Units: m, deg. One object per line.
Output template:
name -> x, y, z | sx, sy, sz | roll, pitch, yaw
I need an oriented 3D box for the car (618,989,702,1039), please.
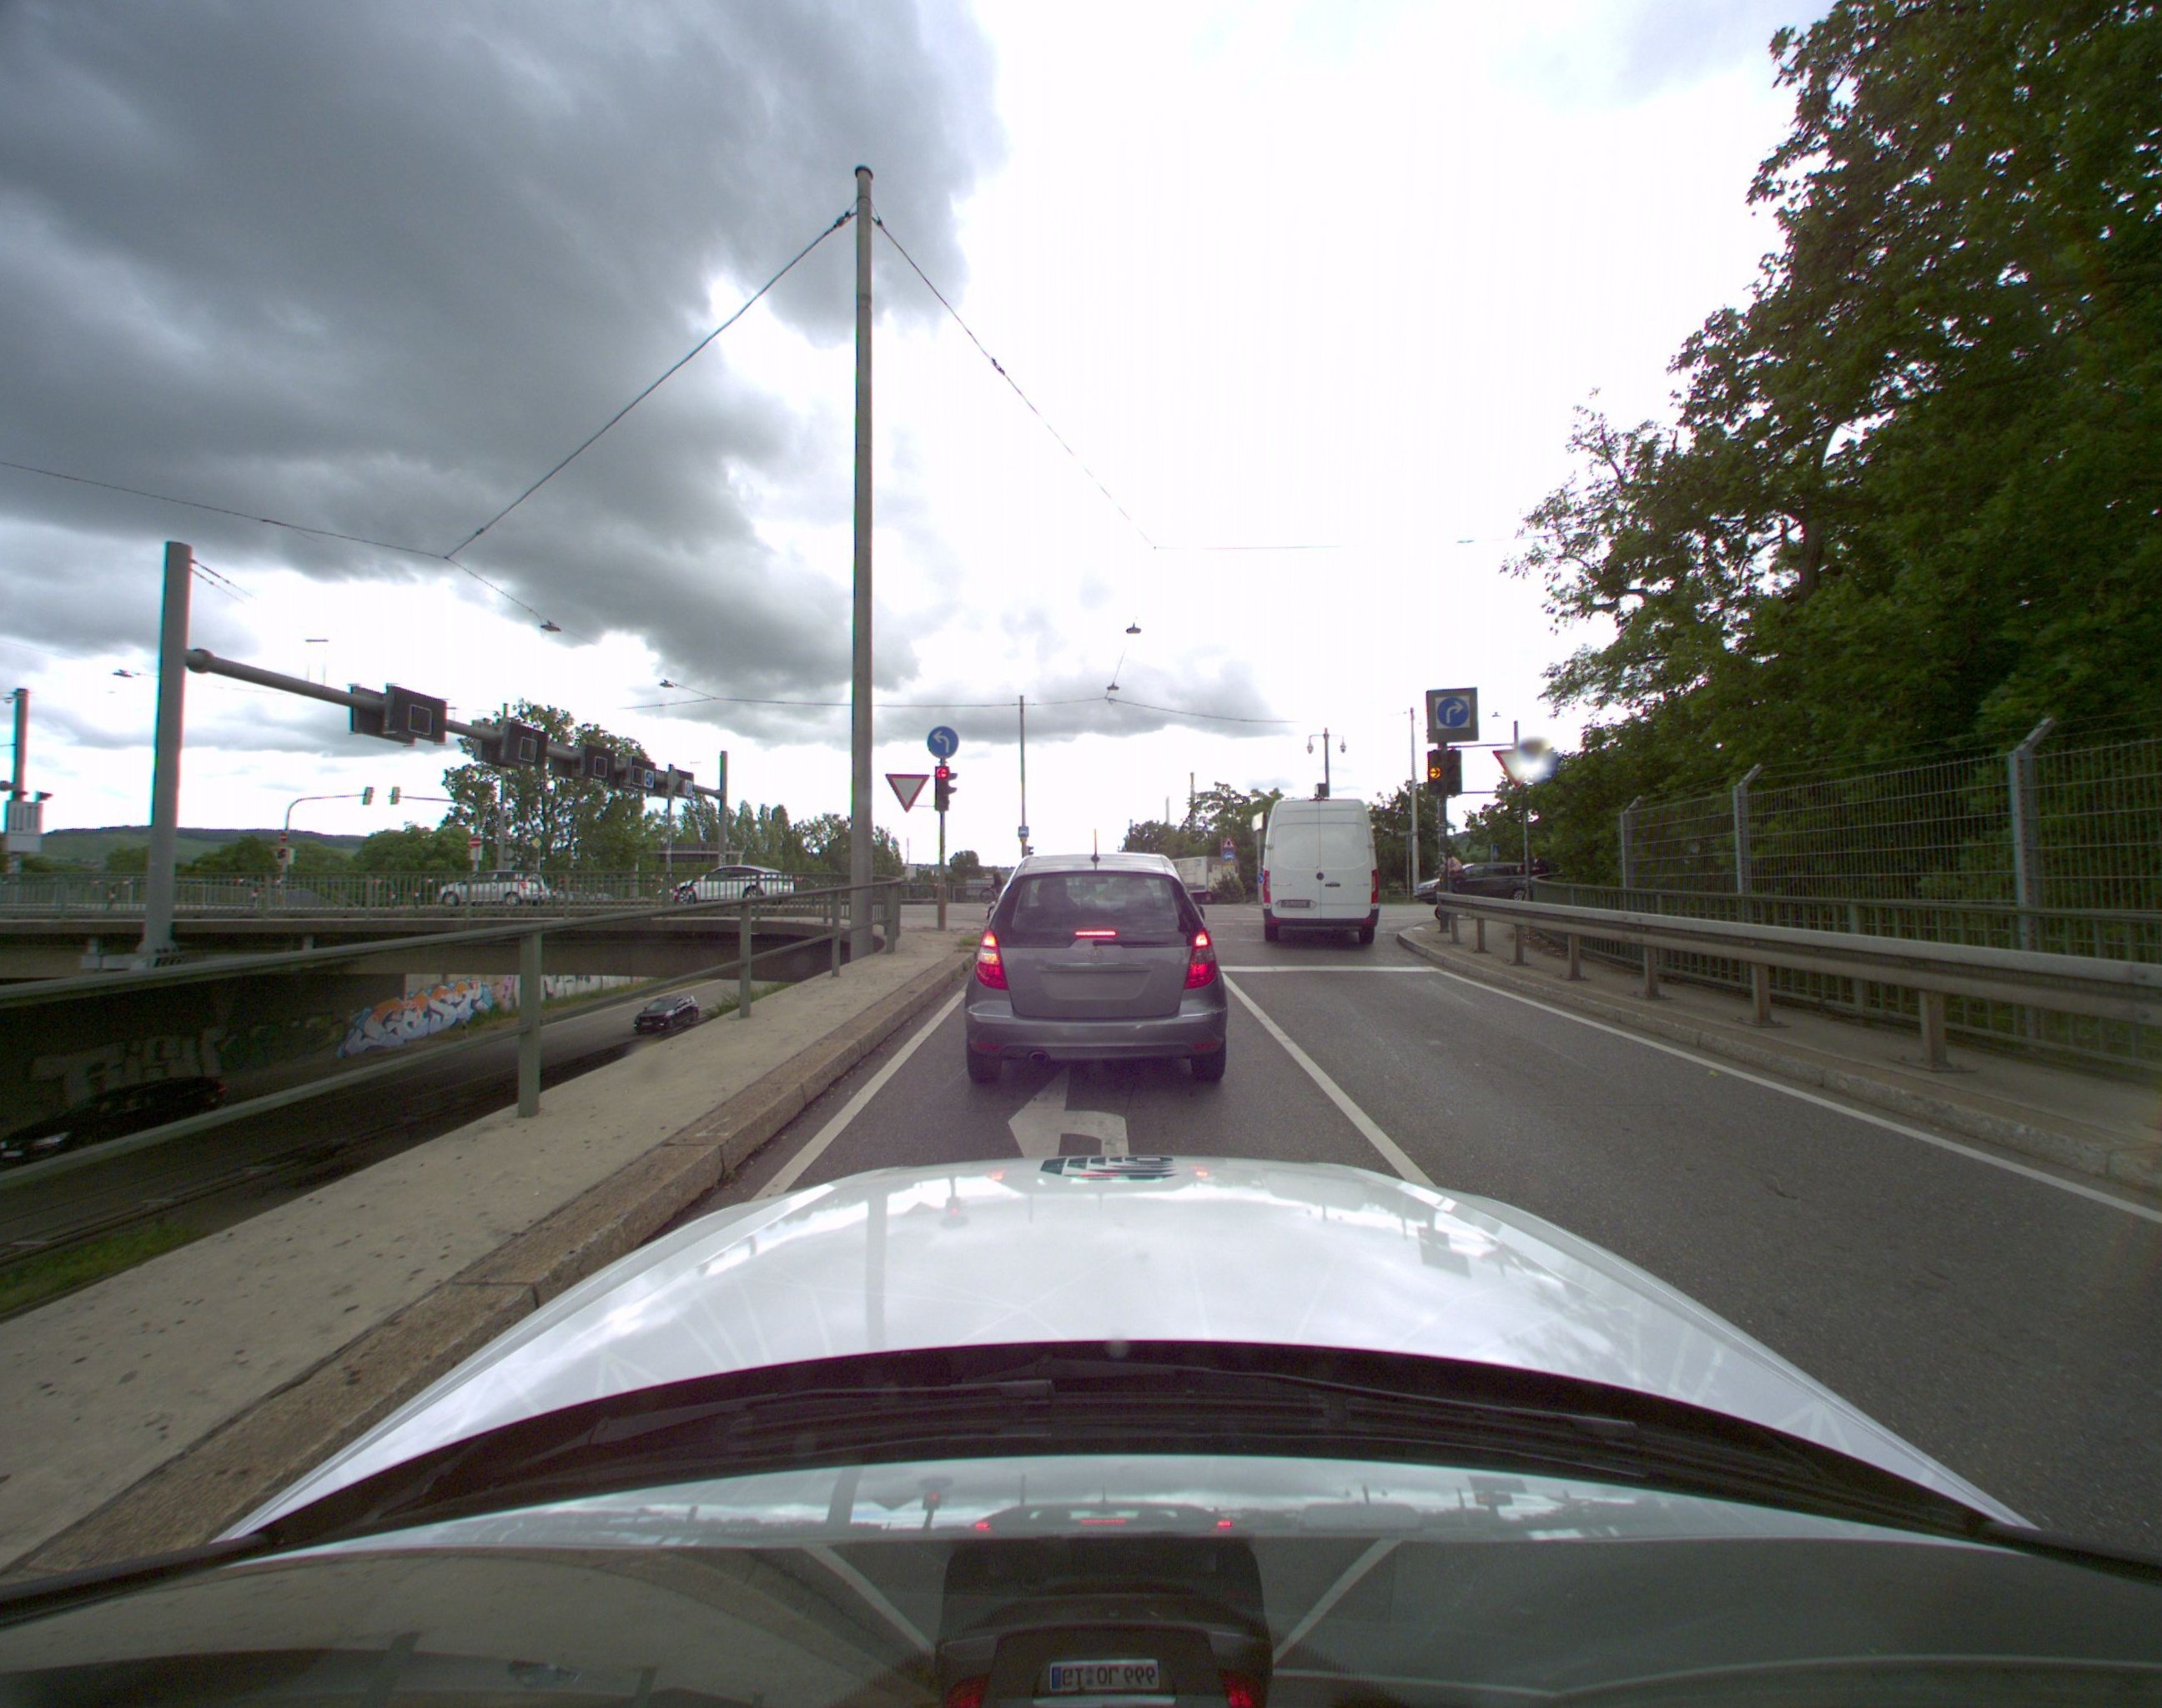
car -> -22.035, 8.352, 42.798 | 1.986, 1.841, 4.424 | -3, -3, 1

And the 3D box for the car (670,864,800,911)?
car -> -13.748, 1.323, 32.493 | 4.365, 1.717, 1.943 | -1, 0, 9

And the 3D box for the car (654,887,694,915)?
car -> -36.350, 4.154, 72.873 | 1.850, 2.215, 3.660 | -1, 0, -3

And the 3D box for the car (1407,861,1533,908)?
car -> 14.808, 1.154, 31.186 | 3.969, 1.665, 1.815 | -1, 0, 4

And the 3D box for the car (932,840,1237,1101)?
car -> 0.153, 0.699, 7.006 | 1.849, 1.588, 4.005 | -1, 1, 4

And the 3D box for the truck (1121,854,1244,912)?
truck -> 6.575, 1.797, 55.014 | 2.806, 3.518, 10.151 | -1, 0, -29

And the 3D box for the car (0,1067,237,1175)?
car -> -28.063, 7.695, 23.870 | 1.924, 1.841, 4.410 | -2, -3, 2

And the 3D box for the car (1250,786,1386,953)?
car -> 4.671, 0.248, 17.074 | 2.097, 2.783, 6.801 | -1, 0, 11

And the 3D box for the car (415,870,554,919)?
car -> -23.515, 1.572, 32.225 | 3.976, 1.717, 1.936 | -1, 0, -2

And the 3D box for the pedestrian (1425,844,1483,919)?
pedestrian -> 8.759, 0.651, 19.143 | 0.830, 1.678, 0.978 | -1, -3, -1

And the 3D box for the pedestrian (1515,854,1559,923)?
pedestrian -> 11.099, 0.816, 19.819 | 0.774, 1.619, 0.681 | -1, 0, 43

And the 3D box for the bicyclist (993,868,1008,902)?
bicyclist -> -3.987, 1.524, 40.295 | 0.653, 1.673, 0.867 | -1, 0, -9

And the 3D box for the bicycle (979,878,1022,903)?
bicycle -> -3.993, 1.810, 40.281 | 2.032, 1.124, 0.926 | -1, 0, -10
